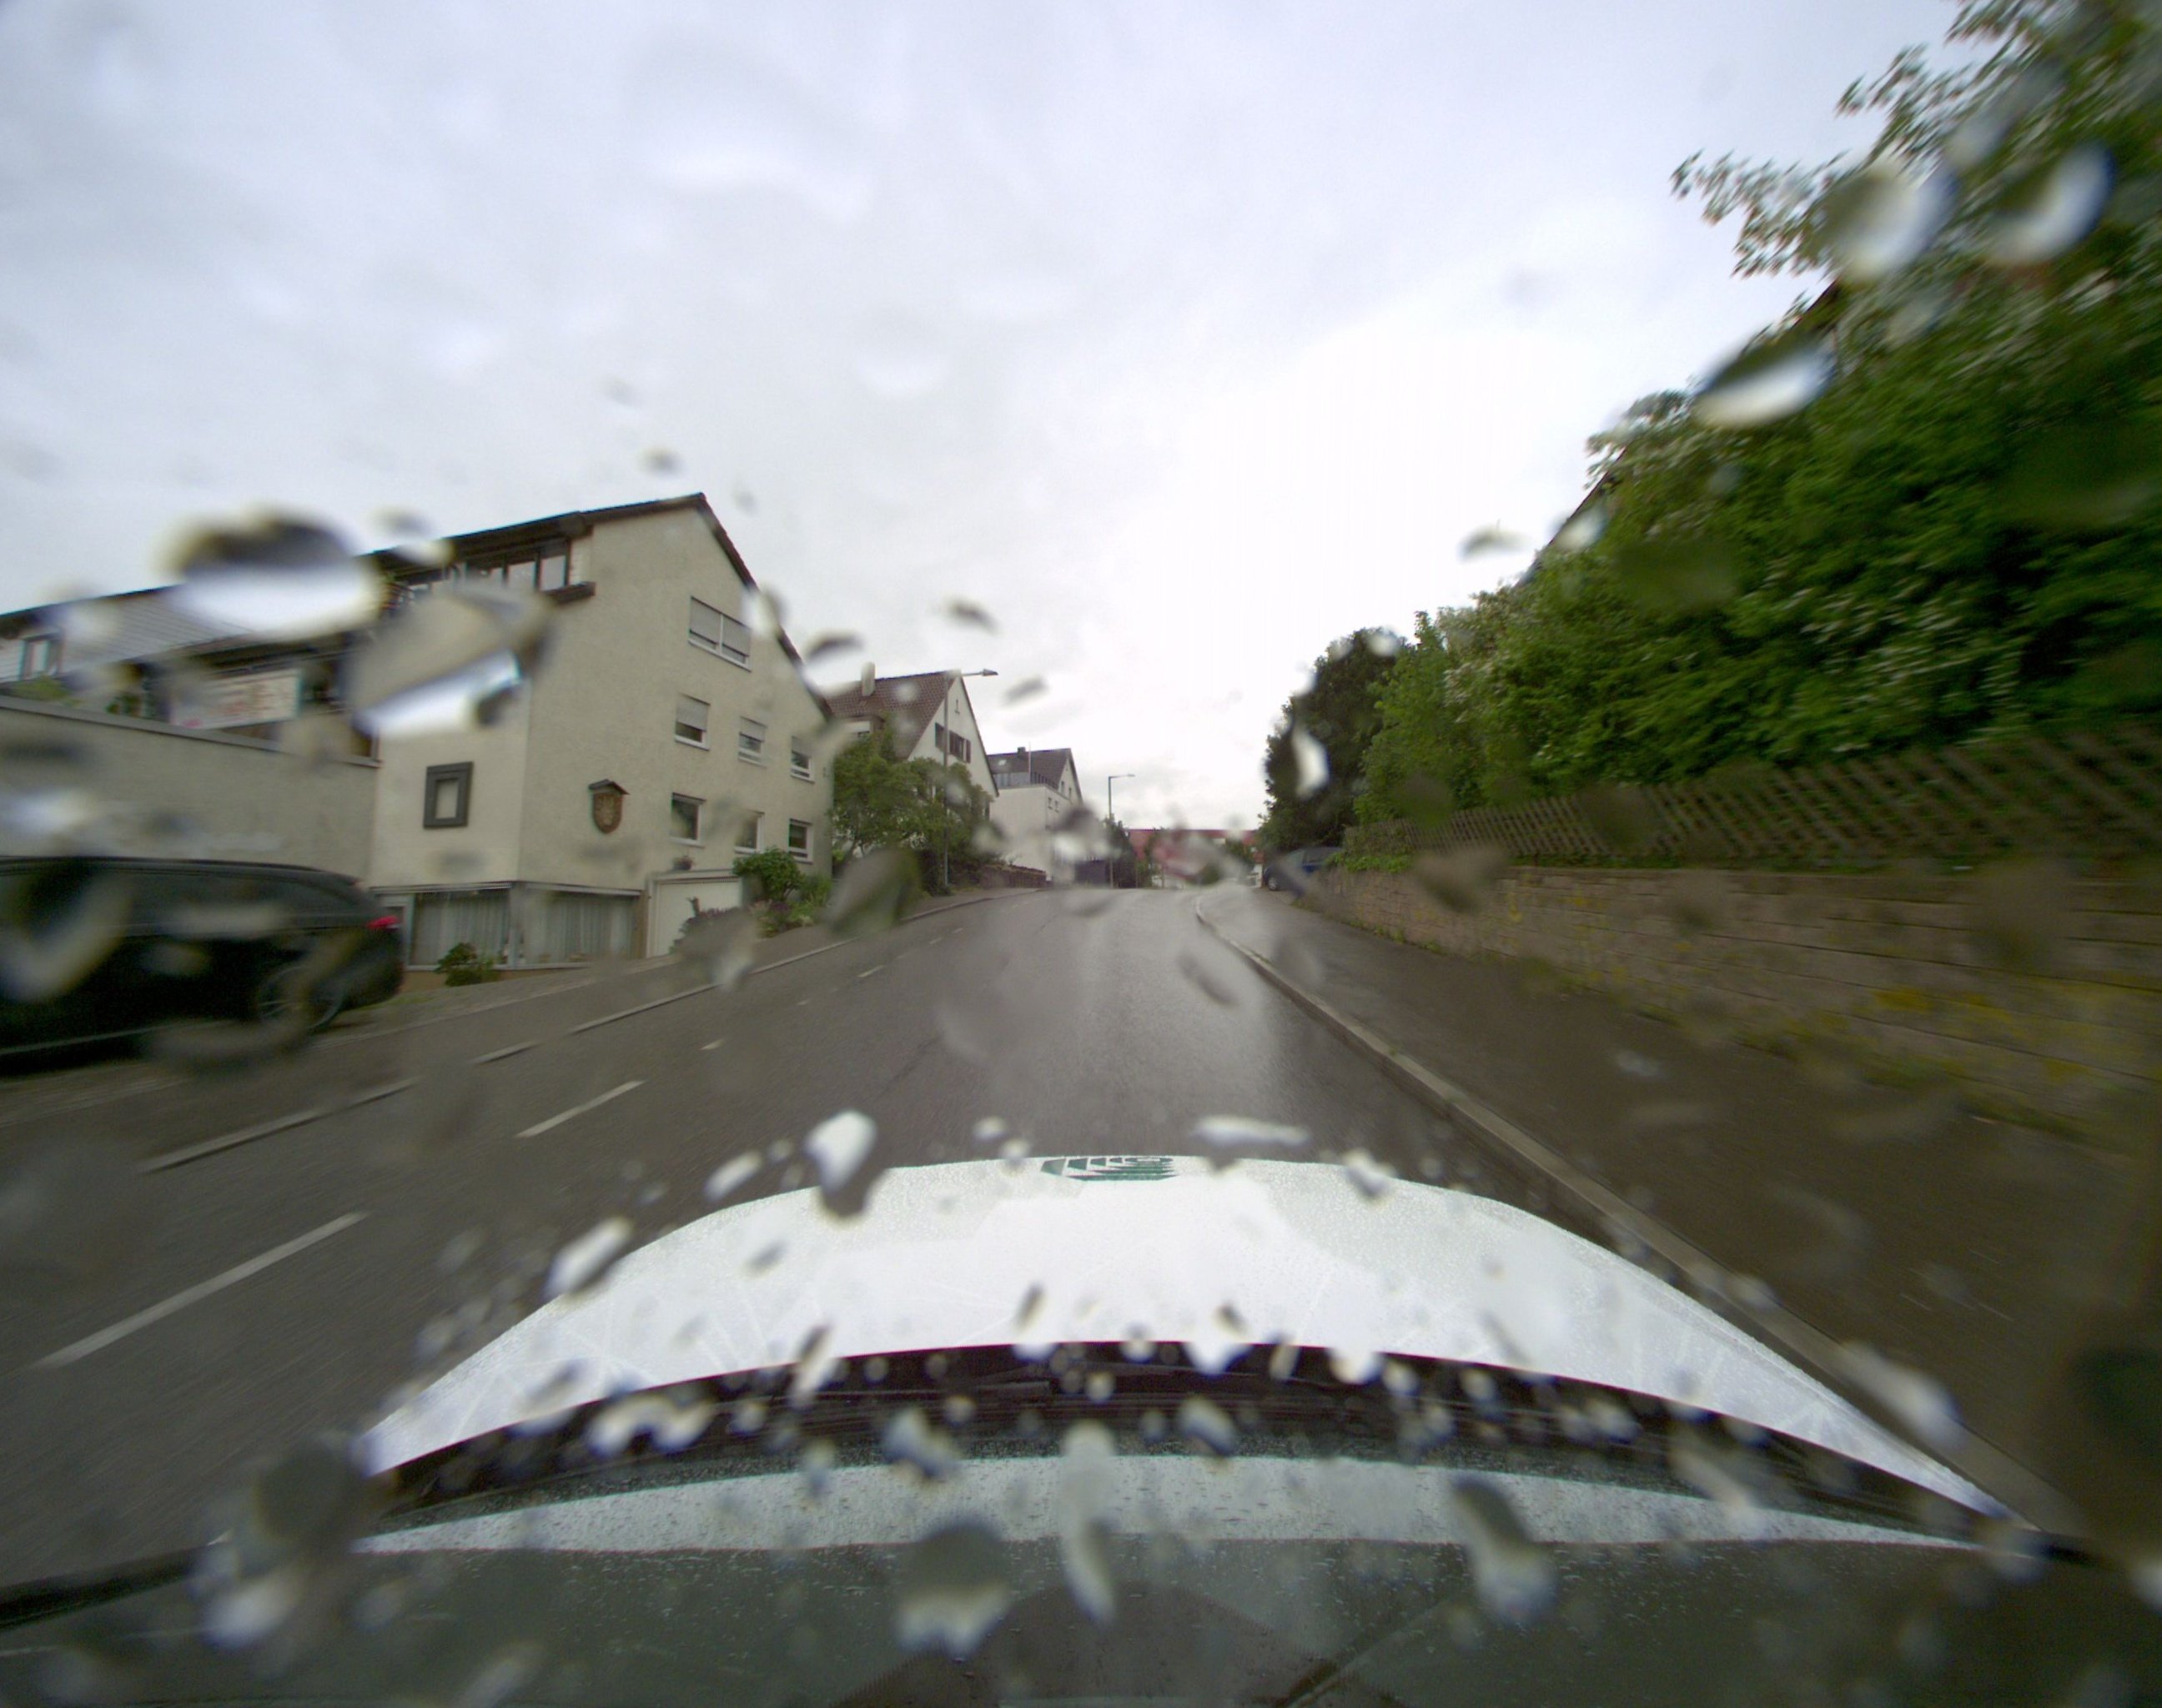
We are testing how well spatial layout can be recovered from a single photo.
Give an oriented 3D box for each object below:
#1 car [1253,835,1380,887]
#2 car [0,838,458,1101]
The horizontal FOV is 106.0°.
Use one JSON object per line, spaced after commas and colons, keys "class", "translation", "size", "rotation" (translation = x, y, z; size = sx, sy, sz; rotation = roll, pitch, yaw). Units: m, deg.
{"class": "car", "translation": [8.922, 0.298, 31.118], "size": [1.865, 1.606, 4.291], "rotation": [-6, 0, -37]}
{"class": "car", "translation": [-7.666, 0.755, 5.755], "size": [1.959, 1.659, 4.982], "rotation": [-2, 0, 15]}
